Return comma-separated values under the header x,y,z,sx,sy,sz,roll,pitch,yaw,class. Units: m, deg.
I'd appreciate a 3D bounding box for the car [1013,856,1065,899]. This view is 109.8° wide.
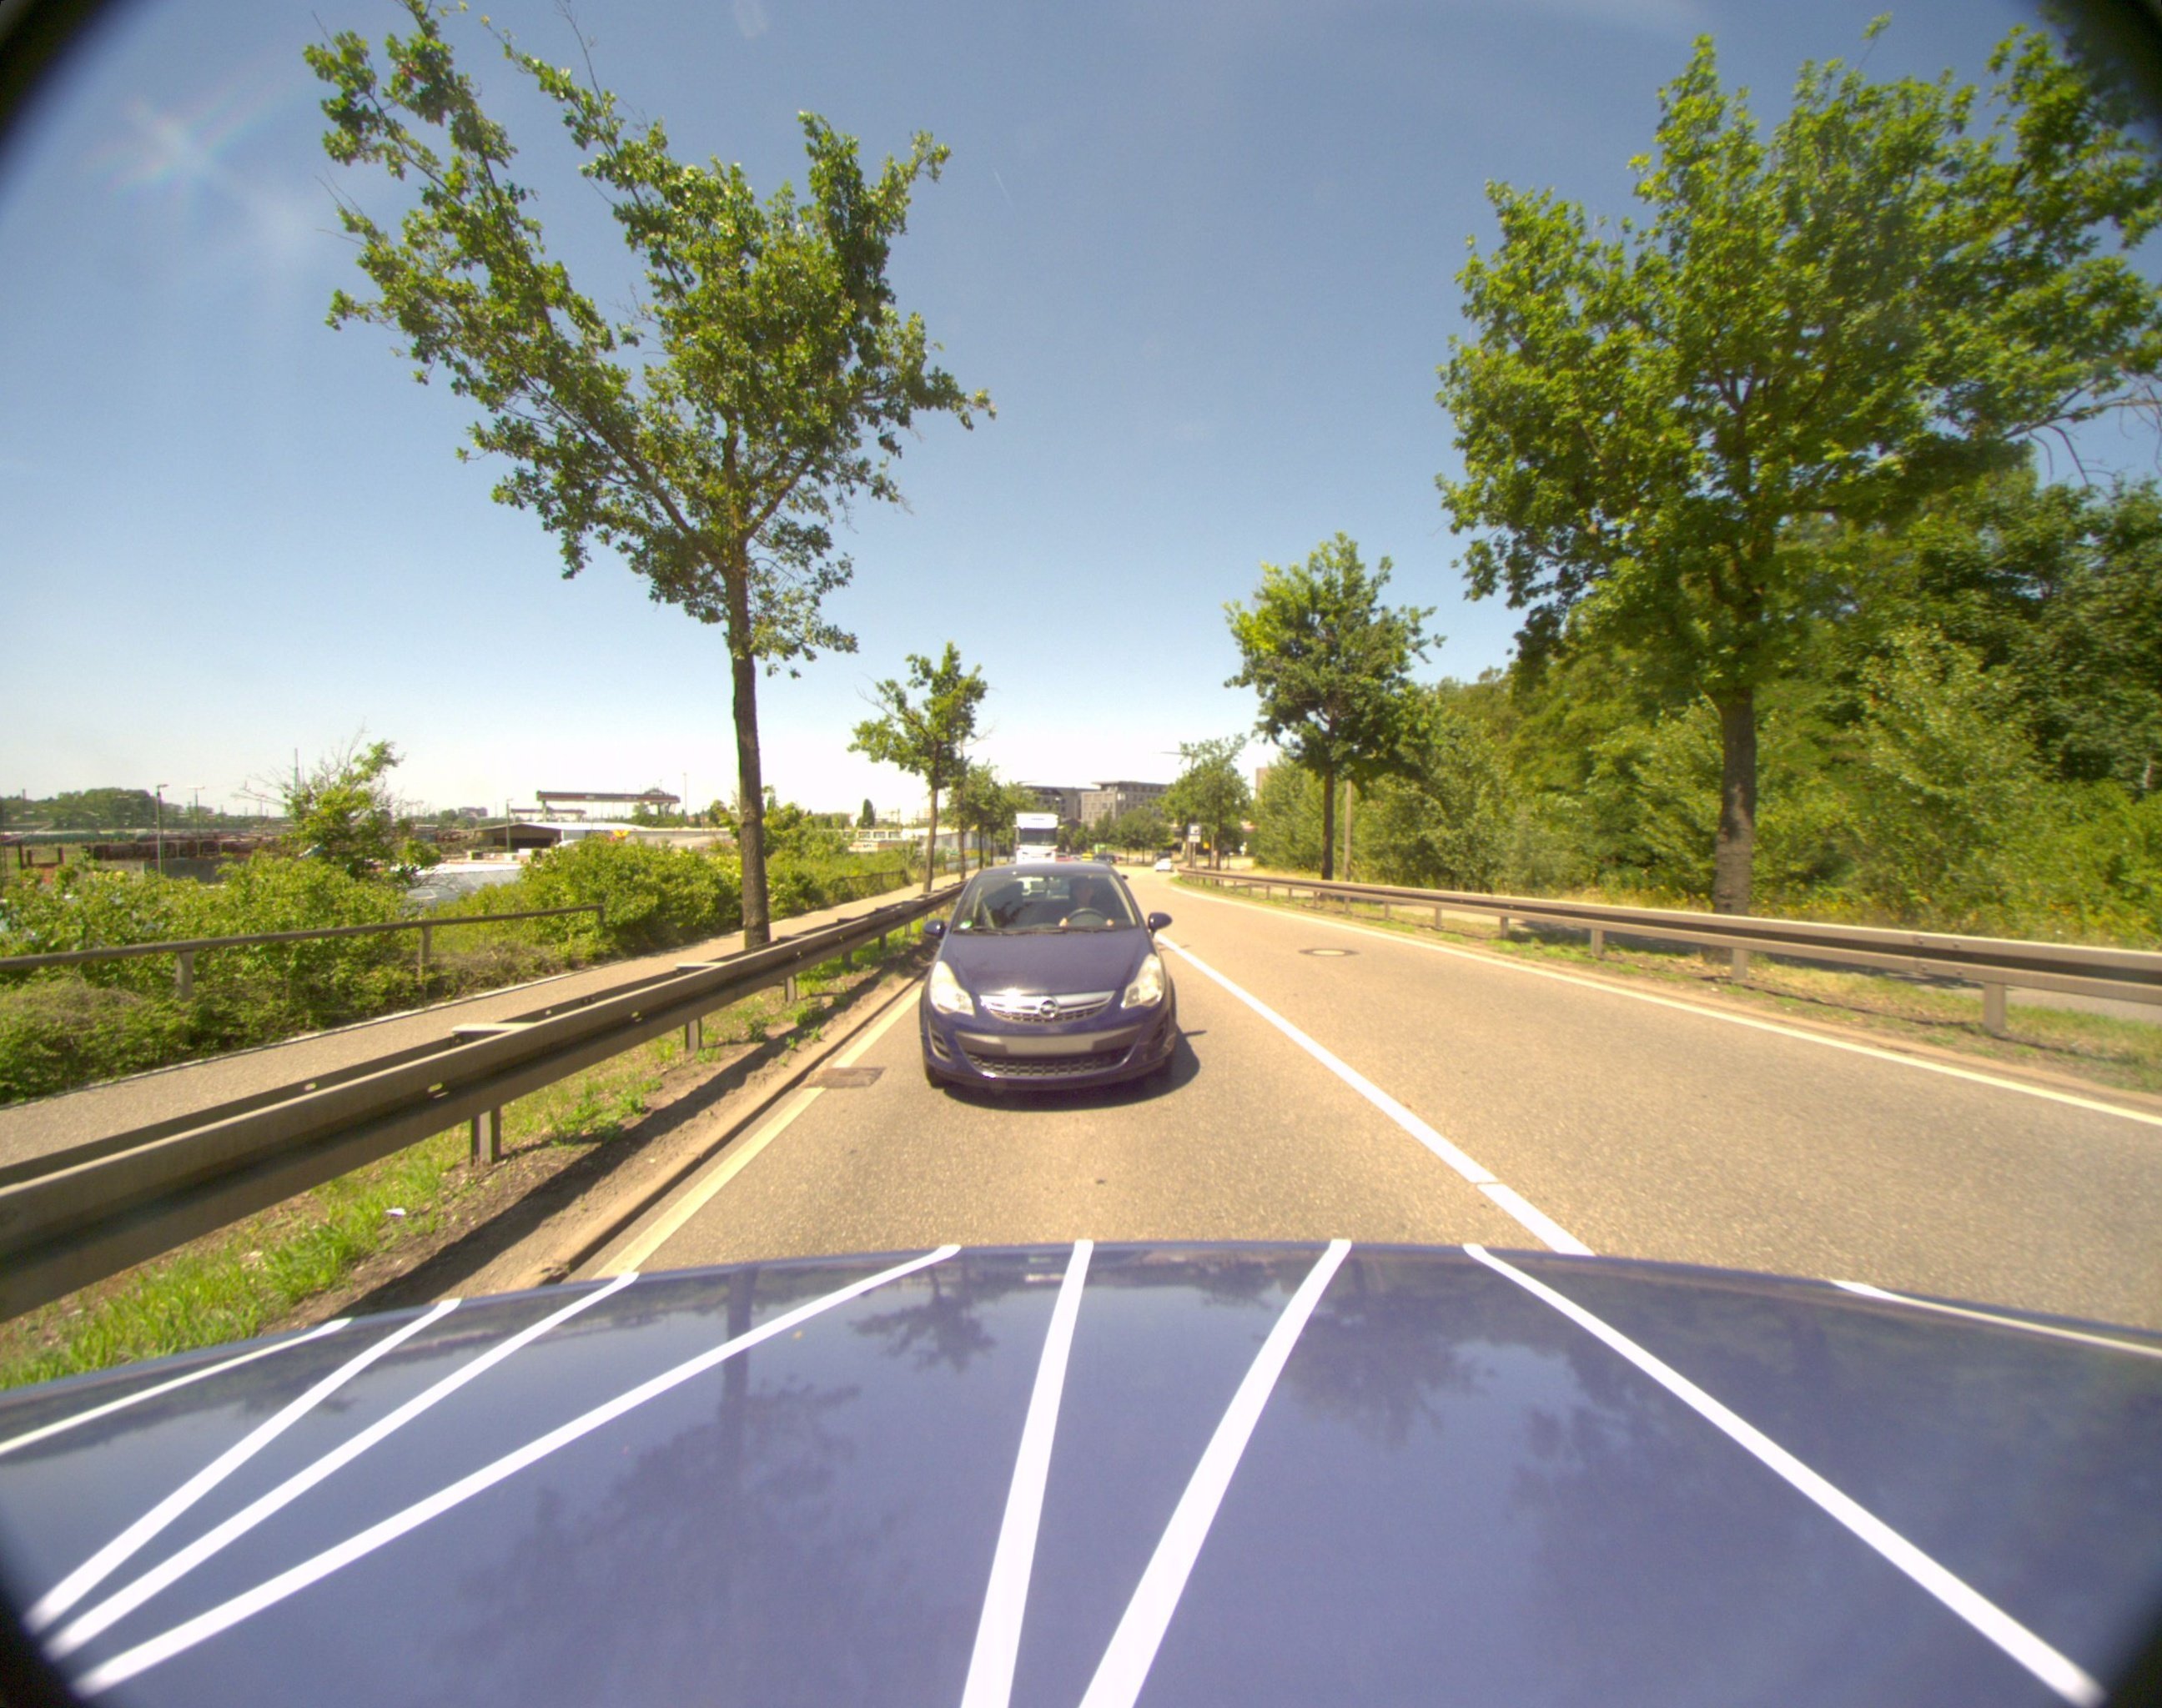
x,y,z,sx,sy,sz,roll,pitch,yaw,class
-1.589,0.832,28.638,1.781,1.398,3.998,-2,1,-3,car

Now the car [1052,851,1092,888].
x,y,z,sx,sy,sz,roll,pitch,yaw,class
-0.445,0.694,36.463,1.780,1.569,3.999,-2,1,-1,car

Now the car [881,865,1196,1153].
x,y,z,sx,sy,sz,roll,pitch,yaw,class
-0.317,0.900,6.204,1.720,1.455,3.836,-2,1,-3,car

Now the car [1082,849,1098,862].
x,y,z,sx,sy,sz,roll,pitch,yaw,class
1.185,0.199,101.248,1.742,1.608,4.001,-2,1,6,car

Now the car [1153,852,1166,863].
x,y,z,sx,sy,sz,roll,pitch,yaw,class
15.756,0.637,153.035,1.778,2.002,4.004,-2,1,17,car

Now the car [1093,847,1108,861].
x,y,z,sx,sy,sz,roll,pitch,yaw,class
2.958,-0.004,114.035,1.779,2.002,4.002,-2,1,9,car

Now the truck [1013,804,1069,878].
x,y,z,sx,sy,sz,roll,pitch,yaw,class
-3.040,-0.822,52.545,3.072,4.146,16.902,-2,1,-5,truck

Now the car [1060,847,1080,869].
x,y,z,sx,sy,sz,roll,pitch,yaw,class
-1.112,0.393,73.954,1.780,2.002,3.999,-2,1,-2,car

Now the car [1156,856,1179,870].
x,y,z,sx,sy,sz,roll,pitch,yaw,class
9.892,0.966,86.621,1.778,1.435,4.004,-2,1,17,car

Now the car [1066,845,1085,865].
x,y,z,sx,sy,sz,roll,pitch,yaw,class
-0.538,0.065,82.114,1.780,2.002,4.000,-2,1,2,car

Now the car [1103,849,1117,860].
x,y,z,sx,sy,sz,roll,pitch,yaw,class
4.632,0.070,121.992,1.779,1.657,4.002,-2,1,9,car

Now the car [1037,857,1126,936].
x,y,z,sx,sy,sz,roll,pitch,yaw,class
-0.100,0.880,17.550,1.781,1.498,3.894,-2,1,-3,car
